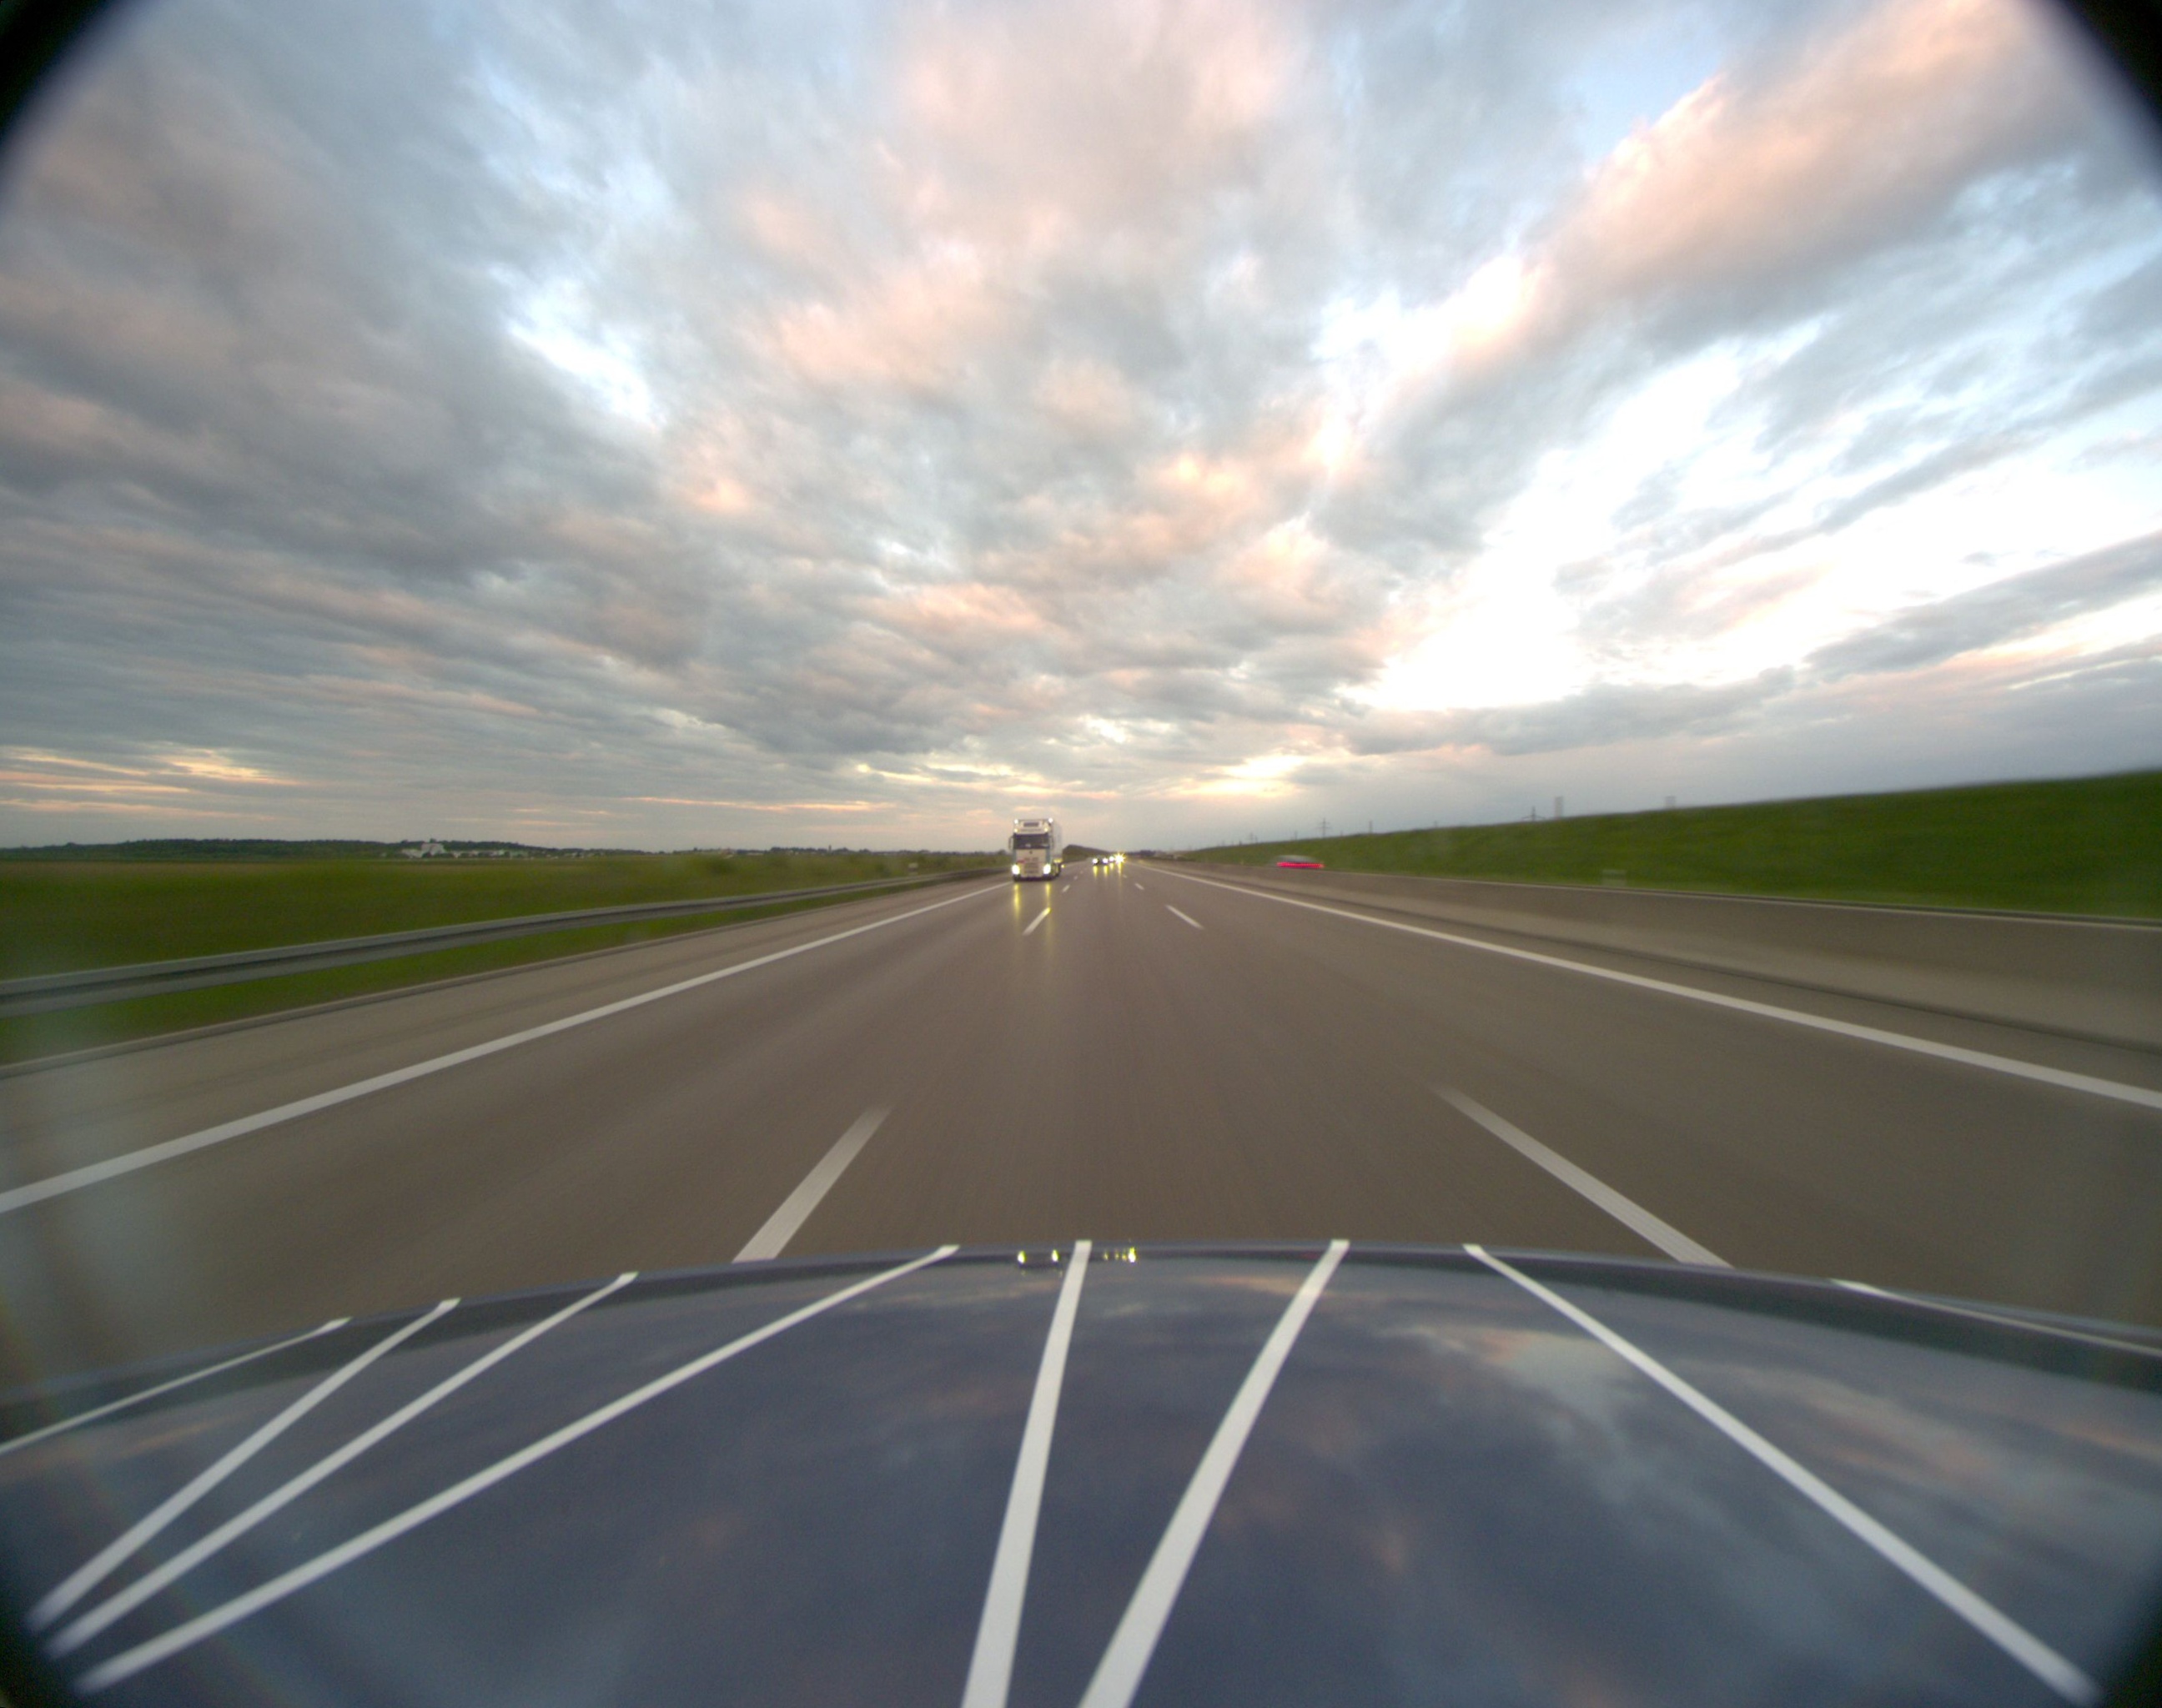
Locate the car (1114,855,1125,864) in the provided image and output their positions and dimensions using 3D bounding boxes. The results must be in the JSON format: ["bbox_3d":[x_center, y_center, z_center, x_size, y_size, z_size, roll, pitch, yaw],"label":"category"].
[{"bbox_3d":[7.730,1.047,151.995,1.998,1.652,3.999,-2,1,0],"label":"car"}]

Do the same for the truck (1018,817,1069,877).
[{"bbox_3d":[-2.623,-0.463,57.194,2.596,3.999,12.986,-1,0,2],"label":"truck"}]

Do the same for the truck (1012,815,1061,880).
[{"bbox_3d":[-2.863,-0.394,50.581,2.596,3.999,5.860,-1,0,2],"label":"truck"}]

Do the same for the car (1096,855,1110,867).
[{"bbox_3d":[3.303,1.004,114.008,1.998,1.652,4.851,-2,1,1],"label":"car"}]

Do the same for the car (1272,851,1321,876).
[{"bbox_3d":[12.571,0.525,44.645,1.751,1.377,4.494,0,0,2],"label":"car"}]
